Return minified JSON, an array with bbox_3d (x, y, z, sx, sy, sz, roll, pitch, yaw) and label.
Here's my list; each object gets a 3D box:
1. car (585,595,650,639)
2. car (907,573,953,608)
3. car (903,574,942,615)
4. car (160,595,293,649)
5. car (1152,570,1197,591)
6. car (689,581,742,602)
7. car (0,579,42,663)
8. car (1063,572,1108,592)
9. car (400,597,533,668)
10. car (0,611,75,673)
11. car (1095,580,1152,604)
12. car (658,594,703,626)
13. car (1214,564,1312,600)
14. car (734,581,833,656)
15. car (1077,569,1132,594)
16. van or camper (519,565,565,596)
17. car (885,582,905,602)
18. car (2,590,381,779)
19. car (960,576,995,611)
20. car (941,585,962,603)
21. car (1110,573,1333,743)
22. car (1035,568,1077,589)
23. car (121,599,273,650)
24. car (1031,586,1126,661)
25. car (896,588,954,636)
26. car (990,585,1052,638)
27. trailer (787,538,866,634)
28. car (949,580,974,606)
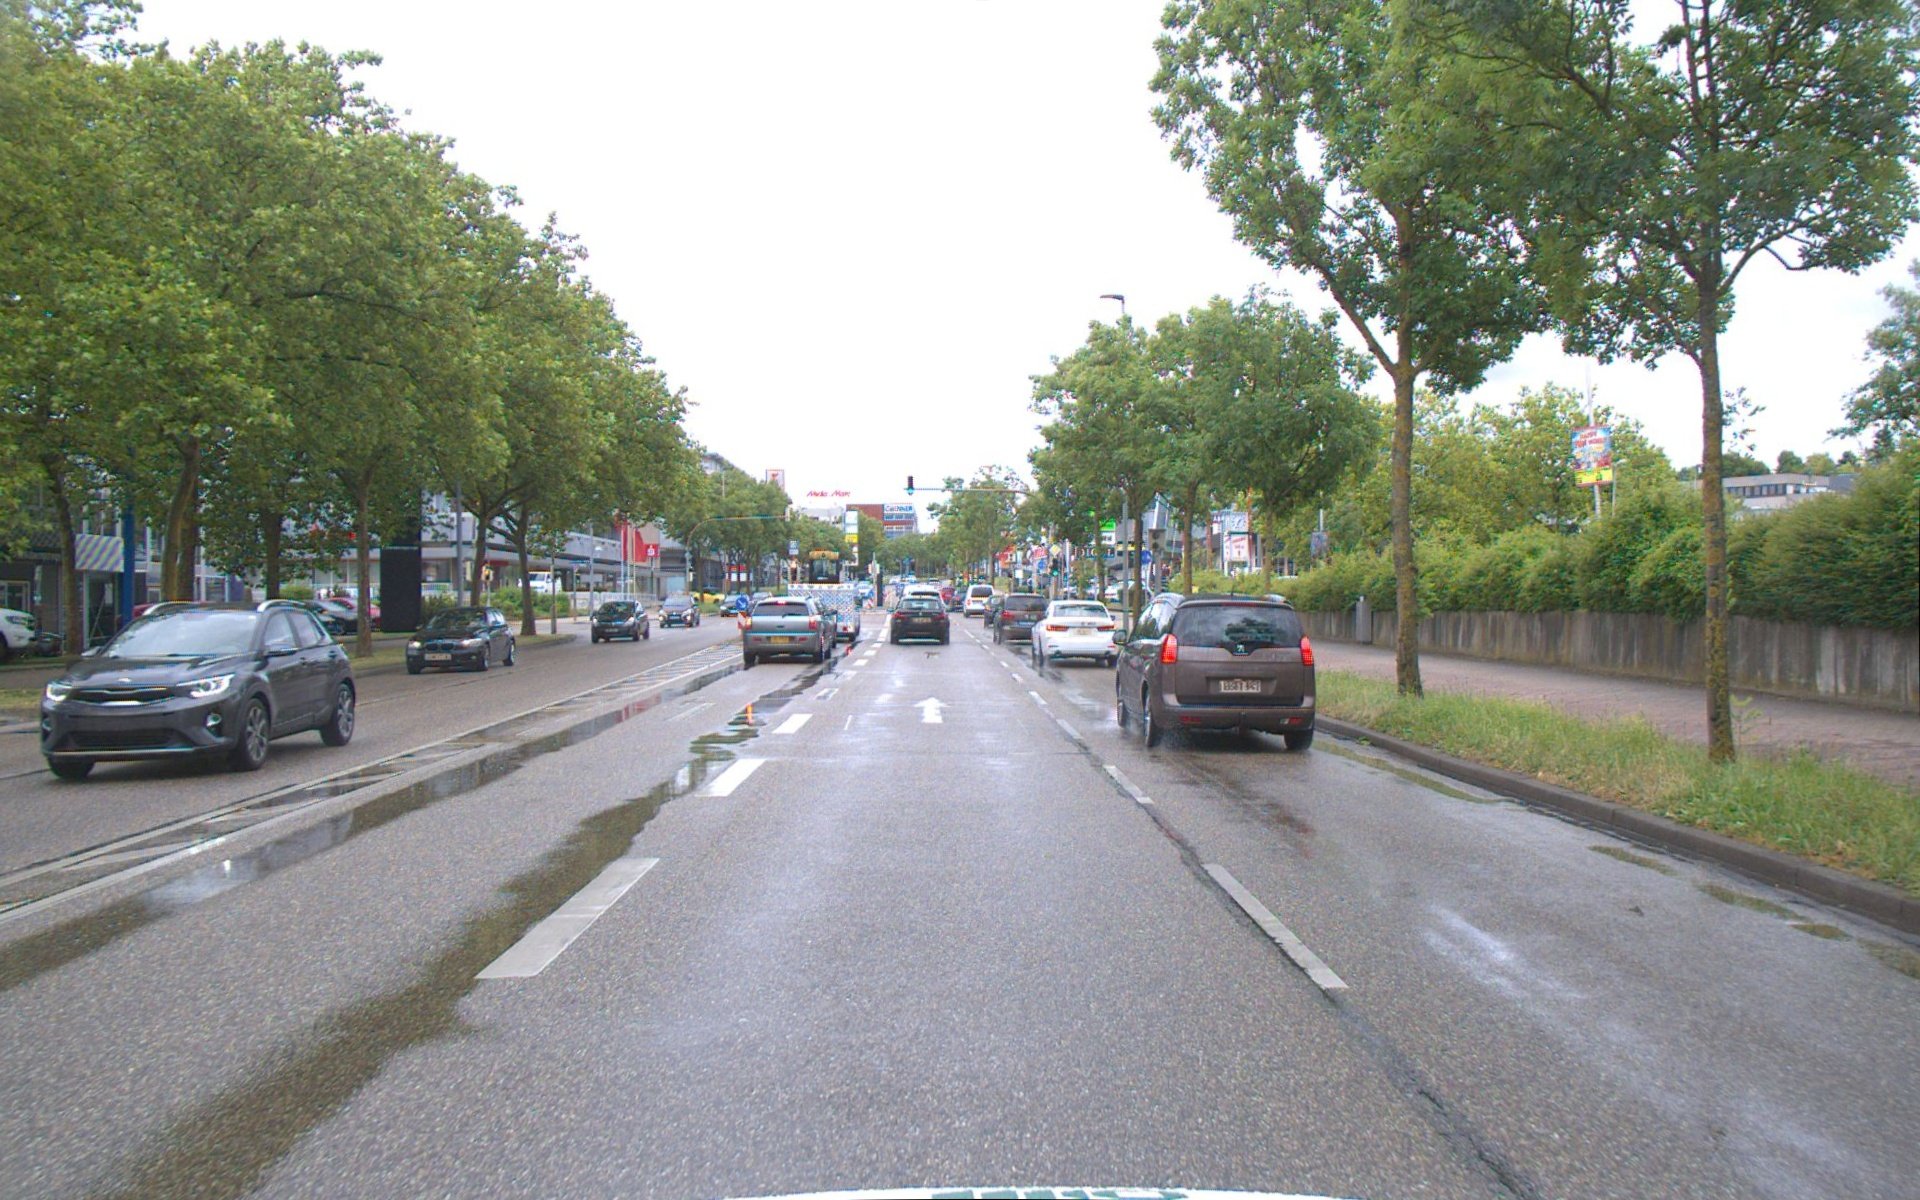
[{"bbox_3d":[-12.475,0.590,60.490,1.676,1.490,4.083,-2,0,-3],"label":"car"},{"bbox_3d":[-1.276,-0.406,68.542,1.649,1.401,3.996,-1,1,-5],"label":"car"},{"bbox_3d":[-1.960,-0.286,86.537,1.953,2.049,3.999,1,0,-2],"label":"car"},{"bbox_3d":[-25.771,0.760,58.156,4.165,1.682,1.997,-2,0,-25],"label":"car"},{"bbox_3d":[18.524,-1.708,142.667,3.941,1.750,1.609,-2,1,-41],"label":"car"},{"bbox_3d":[-19.624,-0.715,132.808,3.916,1.579,1.895,-1,1,33],"label":"car"},{"bbox_3d":[-22.952,0.488,36.585,4.396,1.847,1.985,-1,0,-24],"label":"car"},{"bbox_3d":[10.075,-1.459,132.602,3.567,1.562,1.619,-2,1,-41],"label":"car"},{"bbox_3d":[-11.234,0.704,37.956,1.701,1.454,4.537,-2,0,-1],"label":"car"},{"bbox_3d":[-24.687,1.075,41.432,4.407,1.475,1.980,-1,1,-30],"label":"car"},{"bbox_3d":[11.340,-0.561,114.506,1.896,1.604,4.266,-1,1,40],"label":"car"},{"bbox_3d":[-13.655,0.465,81.007,1.676,1.490,4.083,-2,0,-3],"label":"car"},{"bbox_3d":[12.985,-0.765,71.079,3.905,1.467,1.655,-1,1,0],"label":"car"},{"bbox_3d":[-4.106,0.391,39.100,1.868,1.606,4.879,-1,0,-1],"label":"car"},{"bbox_3d":[11.090,-1.408,126.884,3.992,1.691,1.953,-4,2,-41],"label":"car"},{"bbox_3d":[-27.996,-1.286,110.953,1.953,2.001,4.786,1,0,-2],"label":"van or camper"},{"bbox_3d":[-6.953,-0.801,176.548,1.953,2.049,3.999,1,0,-1],"label":"car"},{"bbox_3d":[-7.002,0.677,15.588,1.632,1.487,4.180,-2,0,-1],"label":"car"},{"bbox_3d":[0.970,-0.356,92.924,1.746,1.899,3.999,-1,0,-2],"label":"car"},{"bbox_3d":[-0.722,-0.470,139.829,1.661,1.468,3.988,-1,0,-1],"label":"car"},{"bbox_3d":[2.791,0.557,18.592,1.691,1.652,4.470,-1,0,-1],"label":"car"},{"bbox_3d":[9.410,-2.138,162.085,4.026,1.938,1.800,-1,1,0],"label":"car"},{"bbox_3d":[-25.255,0.797,54.885,4.494,1.624,1.985,0,0,-24],"label":"car"},{"bbox_3d":[2.656,0.497,38.109,1.764,1.571,4.619,1,0,-1],"label":"car"},{"bbox_3d":[-1.122,0.351,51.701,1.746,1.422,3.999,0,0,-2],"label":"car"},{"bbox_3d":[1.932,0.336,53.626,1.764,1.614,4.450,1,1,-1],"label":"car"},{"bbox_3d":[-4.319,-0.456,54.183,2.325,2.947,5.543,-1,0,-3],"label":"trailer"},{"bbox_3d":[0.079,-0.461,113.128,1.650,1.713,3.402,1,0,-1],"label":"car"}]
